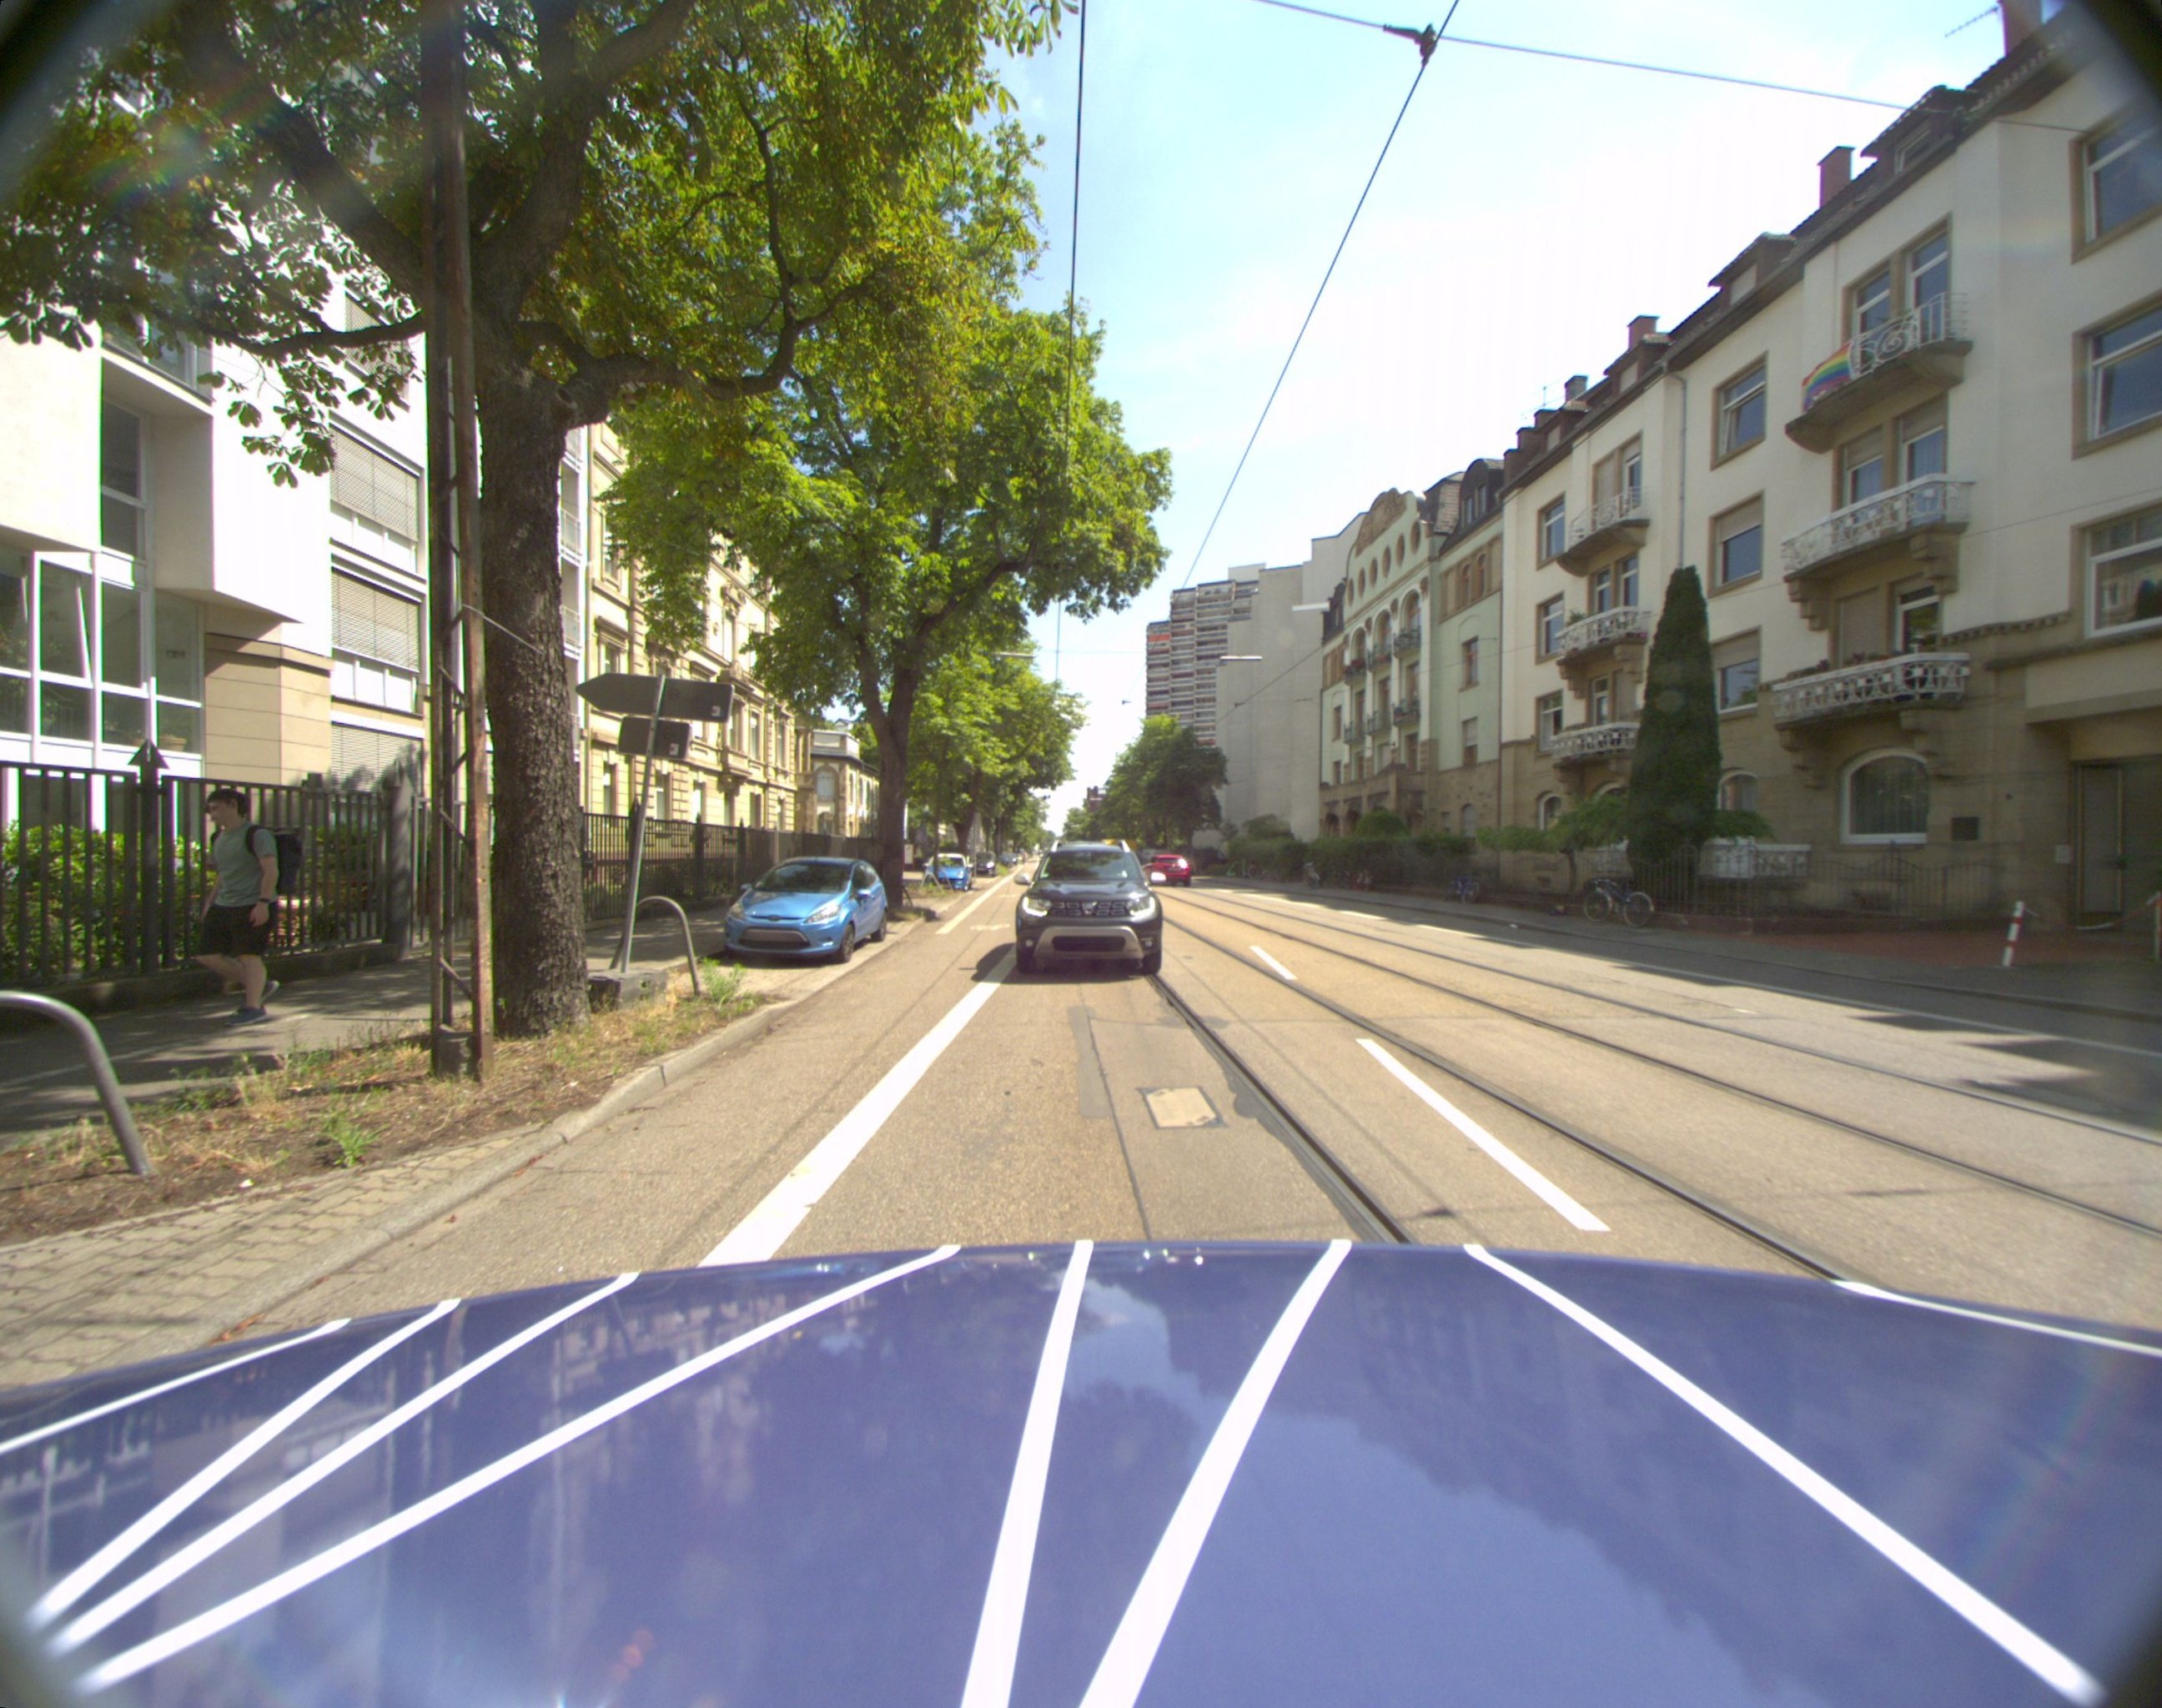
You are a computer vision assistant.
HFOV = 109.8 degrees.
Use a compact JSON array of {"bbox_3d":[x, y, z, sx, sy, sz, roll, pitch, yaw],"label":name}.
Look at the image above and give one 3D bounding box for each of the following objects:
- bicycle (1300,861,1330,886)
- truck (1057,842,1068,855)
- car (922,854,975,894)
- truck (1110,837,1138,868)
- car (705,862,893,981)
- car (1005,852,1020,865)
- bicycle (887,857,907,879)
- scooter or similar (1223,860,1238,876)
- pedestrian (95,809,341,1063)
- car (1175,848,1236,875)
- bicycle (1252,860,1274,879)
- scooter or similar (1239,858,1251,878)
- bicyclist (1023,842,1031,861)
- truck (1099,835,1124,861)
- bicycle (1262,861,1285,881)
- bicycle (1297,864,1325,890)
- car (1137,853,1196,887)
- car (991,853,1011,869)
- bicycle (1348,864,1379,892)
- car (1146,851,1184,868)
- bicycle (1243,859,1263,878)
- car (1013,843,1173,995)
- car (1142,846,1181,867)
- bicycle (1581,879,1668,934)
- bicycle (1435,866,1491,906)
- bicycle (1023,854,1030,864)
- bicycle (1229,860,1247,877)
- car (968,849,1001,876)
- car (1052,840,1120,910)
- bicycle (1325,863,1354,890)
[{"bbox_3d":[10.429,0.858,33.919,0.609,1.026,1.771,-3,0,-3],"label":"bicycle"},{"bbox_3d":[-5.219,-1.609,215.260,2.792,3.598,8.255,1,0,0],"label":"truck"},{"bbox_3d":[-5.190,0.754,30.186,1.696,1.444,3.472,1,0,-4],"label":"car"},{"bbox_3d":[4.263,-0.167,76.582,2.307,2.903,6.513,1,0,-2],"label":"truck"},{"bbox_3d":[-4.138,0.906,11.804,1.682,1.435,3.719,3,0,-4],"label":"car"},{"bbox_3d":[-8.108,0.556,90.319,1.626,1.395,3.998,3,0,-3],"label":"car"},{"bbox_3d":[-9.446,0.695,39.099,0.609,1.065,1.980,1,0,-1],"label":"bicycle"},{"bbox_3d":[9.497,0.881,48.320,0.407,1.014,1.222,0,1,-19],"label":"scooter or similar"},{"bbox_3d":[-6.609,0.580,5.899,0.686,1.787,1.083,1,1,-3],"label":"pedestrian"},{"bbox_3d":[9.251,0.515,56.223,4.596,1.914,1.956,0,1,-40],"label":"car"},{"bbox_3d":[9.927,0.846,41.484,0.609,0.983,1.707,-3,0,-3],"label":"bicycle"},{"bbox_3d":[9.700,0.819,45.075,0.407,1.113,1.290,0,0,-1],"label":"scooter or similar"},{"bbox_3d":[-5.850,-0.256,82.134,0.773,2.002,0.807,1,1,-4],"label":"bicyclist"},{"bbox_3d":[5.354,-0.991,130.943,2.672,4.155,10.481,1,0,10],"label":"truck"},{"bbox_3d":[10.003,0.868,39.606,0.609,0.970,1.771,-3,0,-3],"label":"bicycle"},{"bbox_3d":[9.540,0.933,31.497,0.608,0.993,1.778,1,1,33],"label":"bicycle"},{"bbox_3d":[3.921,0.696,35.552,1.828,1.405,4.426,2,0,-5],"label":"car"},{"bbox_3d":[-7.476,0.627,71.243,1.626,1.395,3.821,3,0,-3],"label":"car"},{"bbox_3d":[10.669,0.900,28.741,0.414,0.960,1.725,-3,1,-3],"label":"bicycle"},{"bbox_3d":[8.008,0.521,72.241,1.677,1.566,3.692,2,1,44],"label":"car"},{"bbox_3d":[9.819,0.826,43.366,0.609,0.983,1.707,-3,0,-3],"label":"bicycle"},{"bbox_3d":[0.043,0.709,10.570,1.753,1.641,4.296,-1,0,-3],"label":"car"},{"bbox_3d":[8.035,0.292,75.718,4.061,2.030,1.597,0,1,-43],"label":"car"},{"bbox_3d":[11.378,1.075,15.983,0.411,0.955,1.840,-3,2,-3],"label":"bicycle"},{"bbox_3d":[11.054,0.902,22.067,0.609,1.058,1.771,-3,0,-3],"label":"bicycle"},{"bbox_3d":[-5.902,0.502,82.176,0.812,1.089,2.173,0,1,-5],"label":"bicycle"},{"bbox_3d":[9.653,0.880,46.747,0.609,0.983,1.707,-3,0,-3],"label":"bicycle"},{"bbox_3d":[-6.186,0.540,49.016,1.734,1.606,4.082,3,0,-3],"label":"car"},{"bbox_3d":[0.057,0.542,22.317,1.753,1.806,4.307,-2,0,-2],"label":"car"},{"bbox_3d":[10.401,0.903,30.571,0.465,0.993,1.707,-3,1,-3],"label":"bicycle"}]
